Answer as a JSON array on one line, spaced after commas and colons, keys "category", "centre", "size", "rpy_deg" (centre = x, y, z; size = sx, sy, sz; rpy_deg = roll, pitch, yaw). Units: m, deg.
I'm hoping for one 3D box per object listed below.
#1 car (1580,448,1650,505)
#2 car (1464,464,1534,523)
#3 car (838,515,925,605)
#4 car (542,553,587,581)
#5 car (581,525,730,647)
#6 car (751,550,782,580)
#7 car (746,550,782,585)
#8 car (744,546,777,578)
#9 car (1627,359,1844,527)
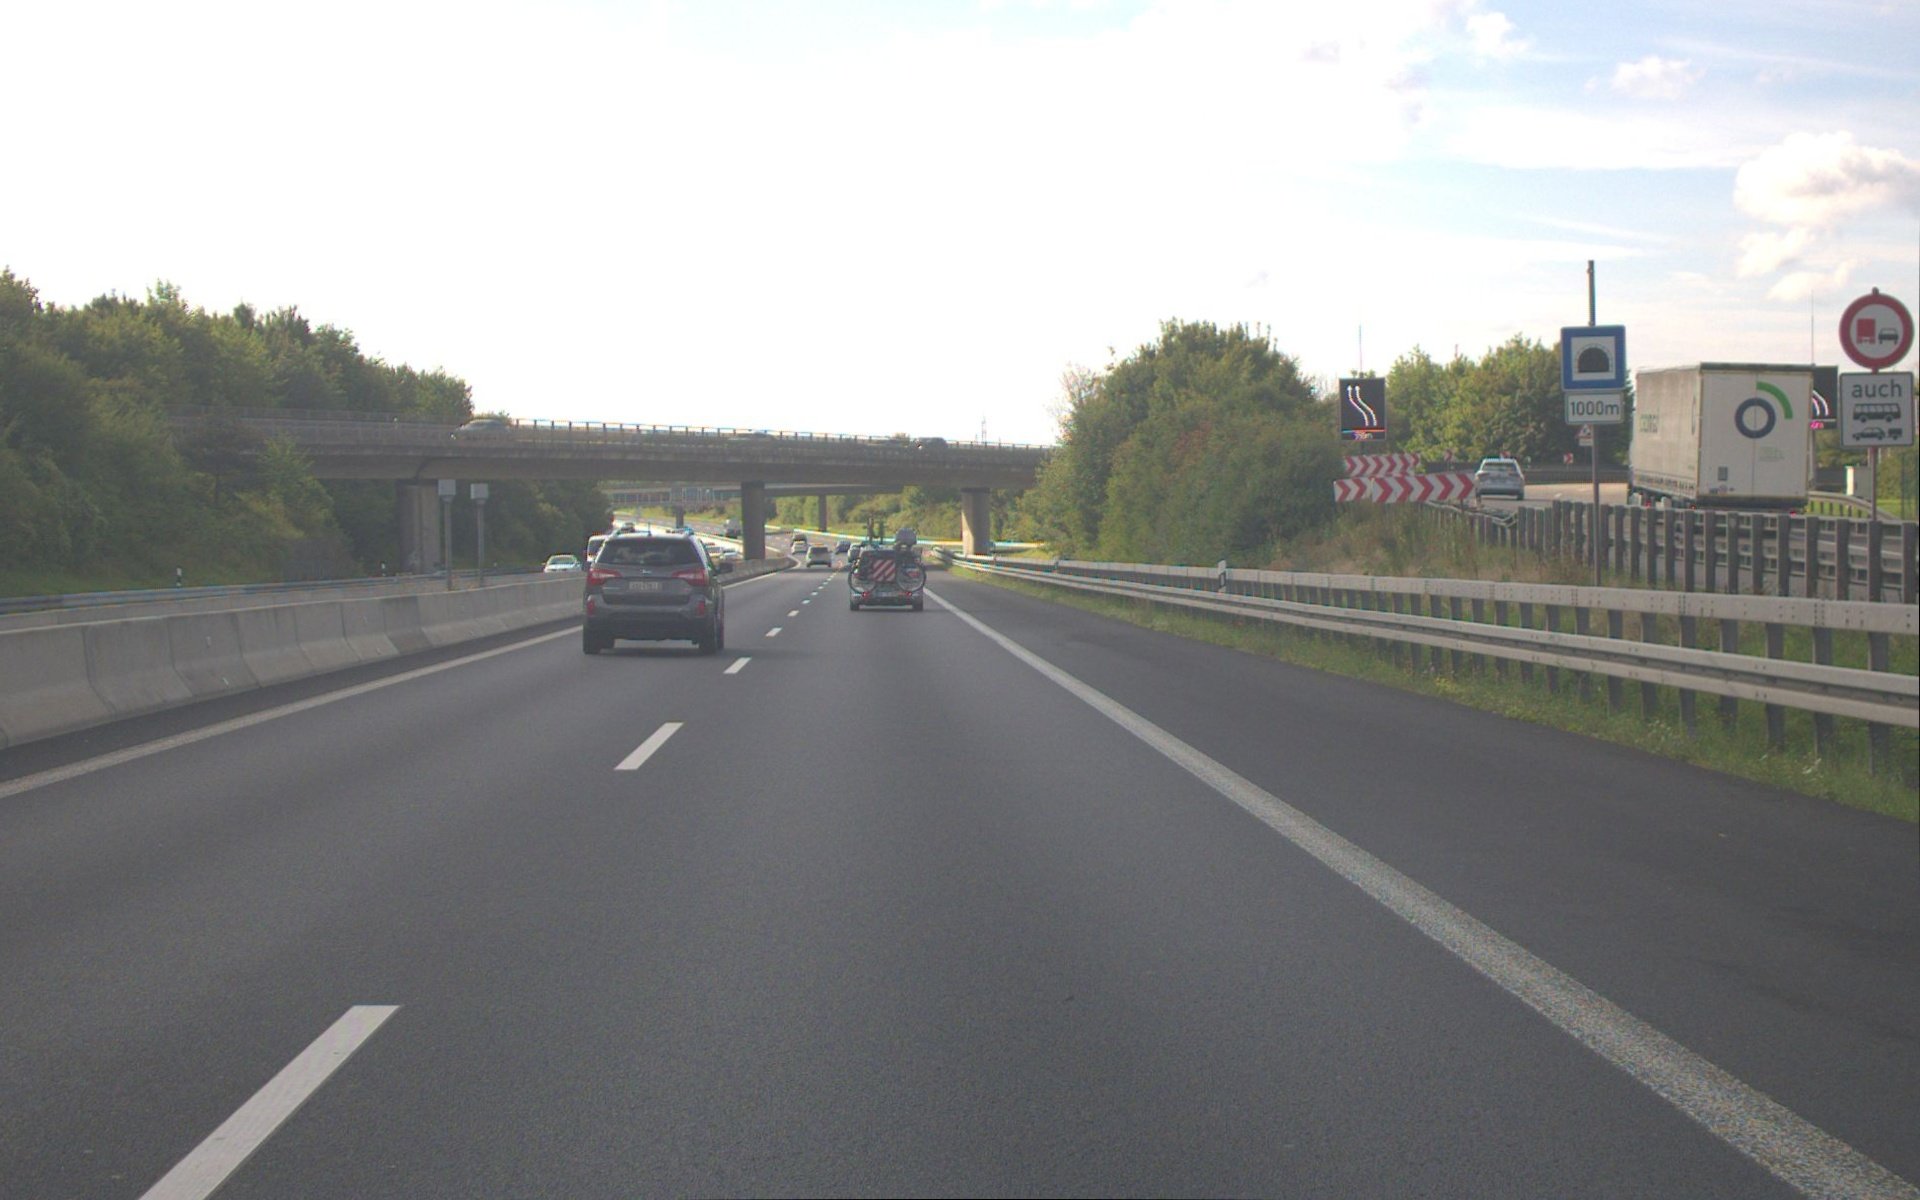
[{"category": "car", "centre": [24.537, -4.613, 128.902], "size": [1.994, 2.007, 4.000], "rpy_deg": [-2, 1, 3]}, {"category": "car", "centre": [19.242, -3.799, 122.867], "size": [1.994, 2.007, 4.000], "rpy_deg": [-2, 1, 3]}, {"category": "car", "centre": [-1.906, -0.989, 83.552], "size": [1.993, 2.073, 4.000], "rpy_deg": [-2, 1, -1]}, {"category": "car", "centre": [-21.376, -1.812, 185.868], "size": [1.993, 1.431, 4.725], "rpy_deg": [-2, 1, -2]}, {"category": "car", "centre": [-4.288, -0.220, 48.903], "size": [1.750, 1.624, 3.609], "rpy_deg": [-2, 1, 0]}, {"category": "car", "centre": [-13.306, -2.410, 236.231], "size": [1.993, 2.007, 4.000], "rpy_deg": [-2, 1, -2]}, {"category": "car", "centre": [-11.728, -1.976, 206.304], "size": [1.993, 2.007, 4.000], "rpy_deg": [-2, 1, -2]}, {"category": "car", "centre": [-13.097, -2.507, 225.410], "size": [1.993, 2.007, 4.000], "rpy_deg": [-2, 1, -2]}, {"category": "car", "centre": [18.358, -3.645, 81.892], "size": [3.576, 3.664, 7.549], "rpy_deg": [-2, 1, 2]}]
